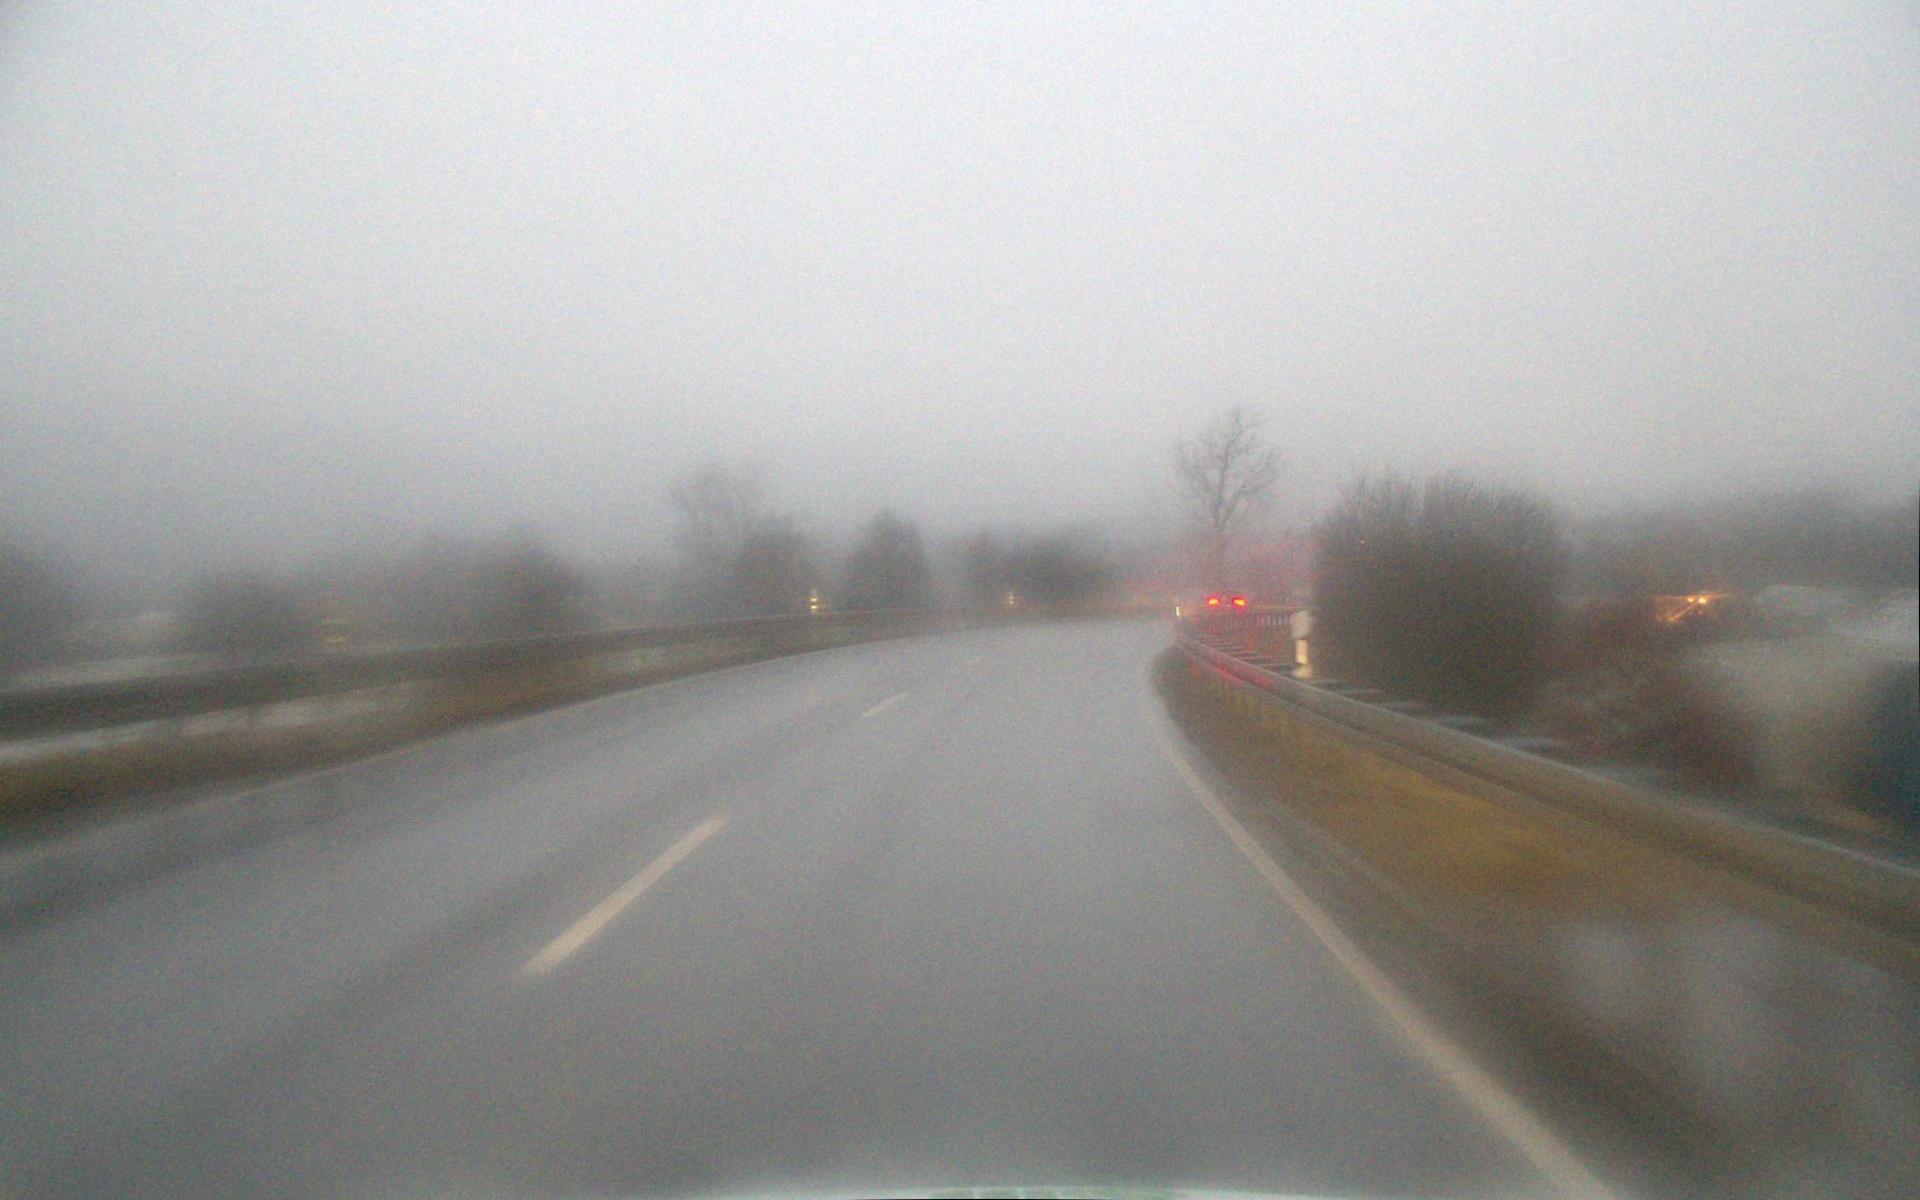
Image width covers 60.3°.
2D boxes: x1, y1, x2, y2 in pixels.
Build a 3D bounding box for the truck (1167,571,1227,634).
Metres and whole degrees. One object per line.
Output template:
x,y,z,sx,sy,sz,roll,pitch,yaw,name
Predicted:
11.567,0.072,80.253,2.478,2.919,5.927,1,1,12,truck
